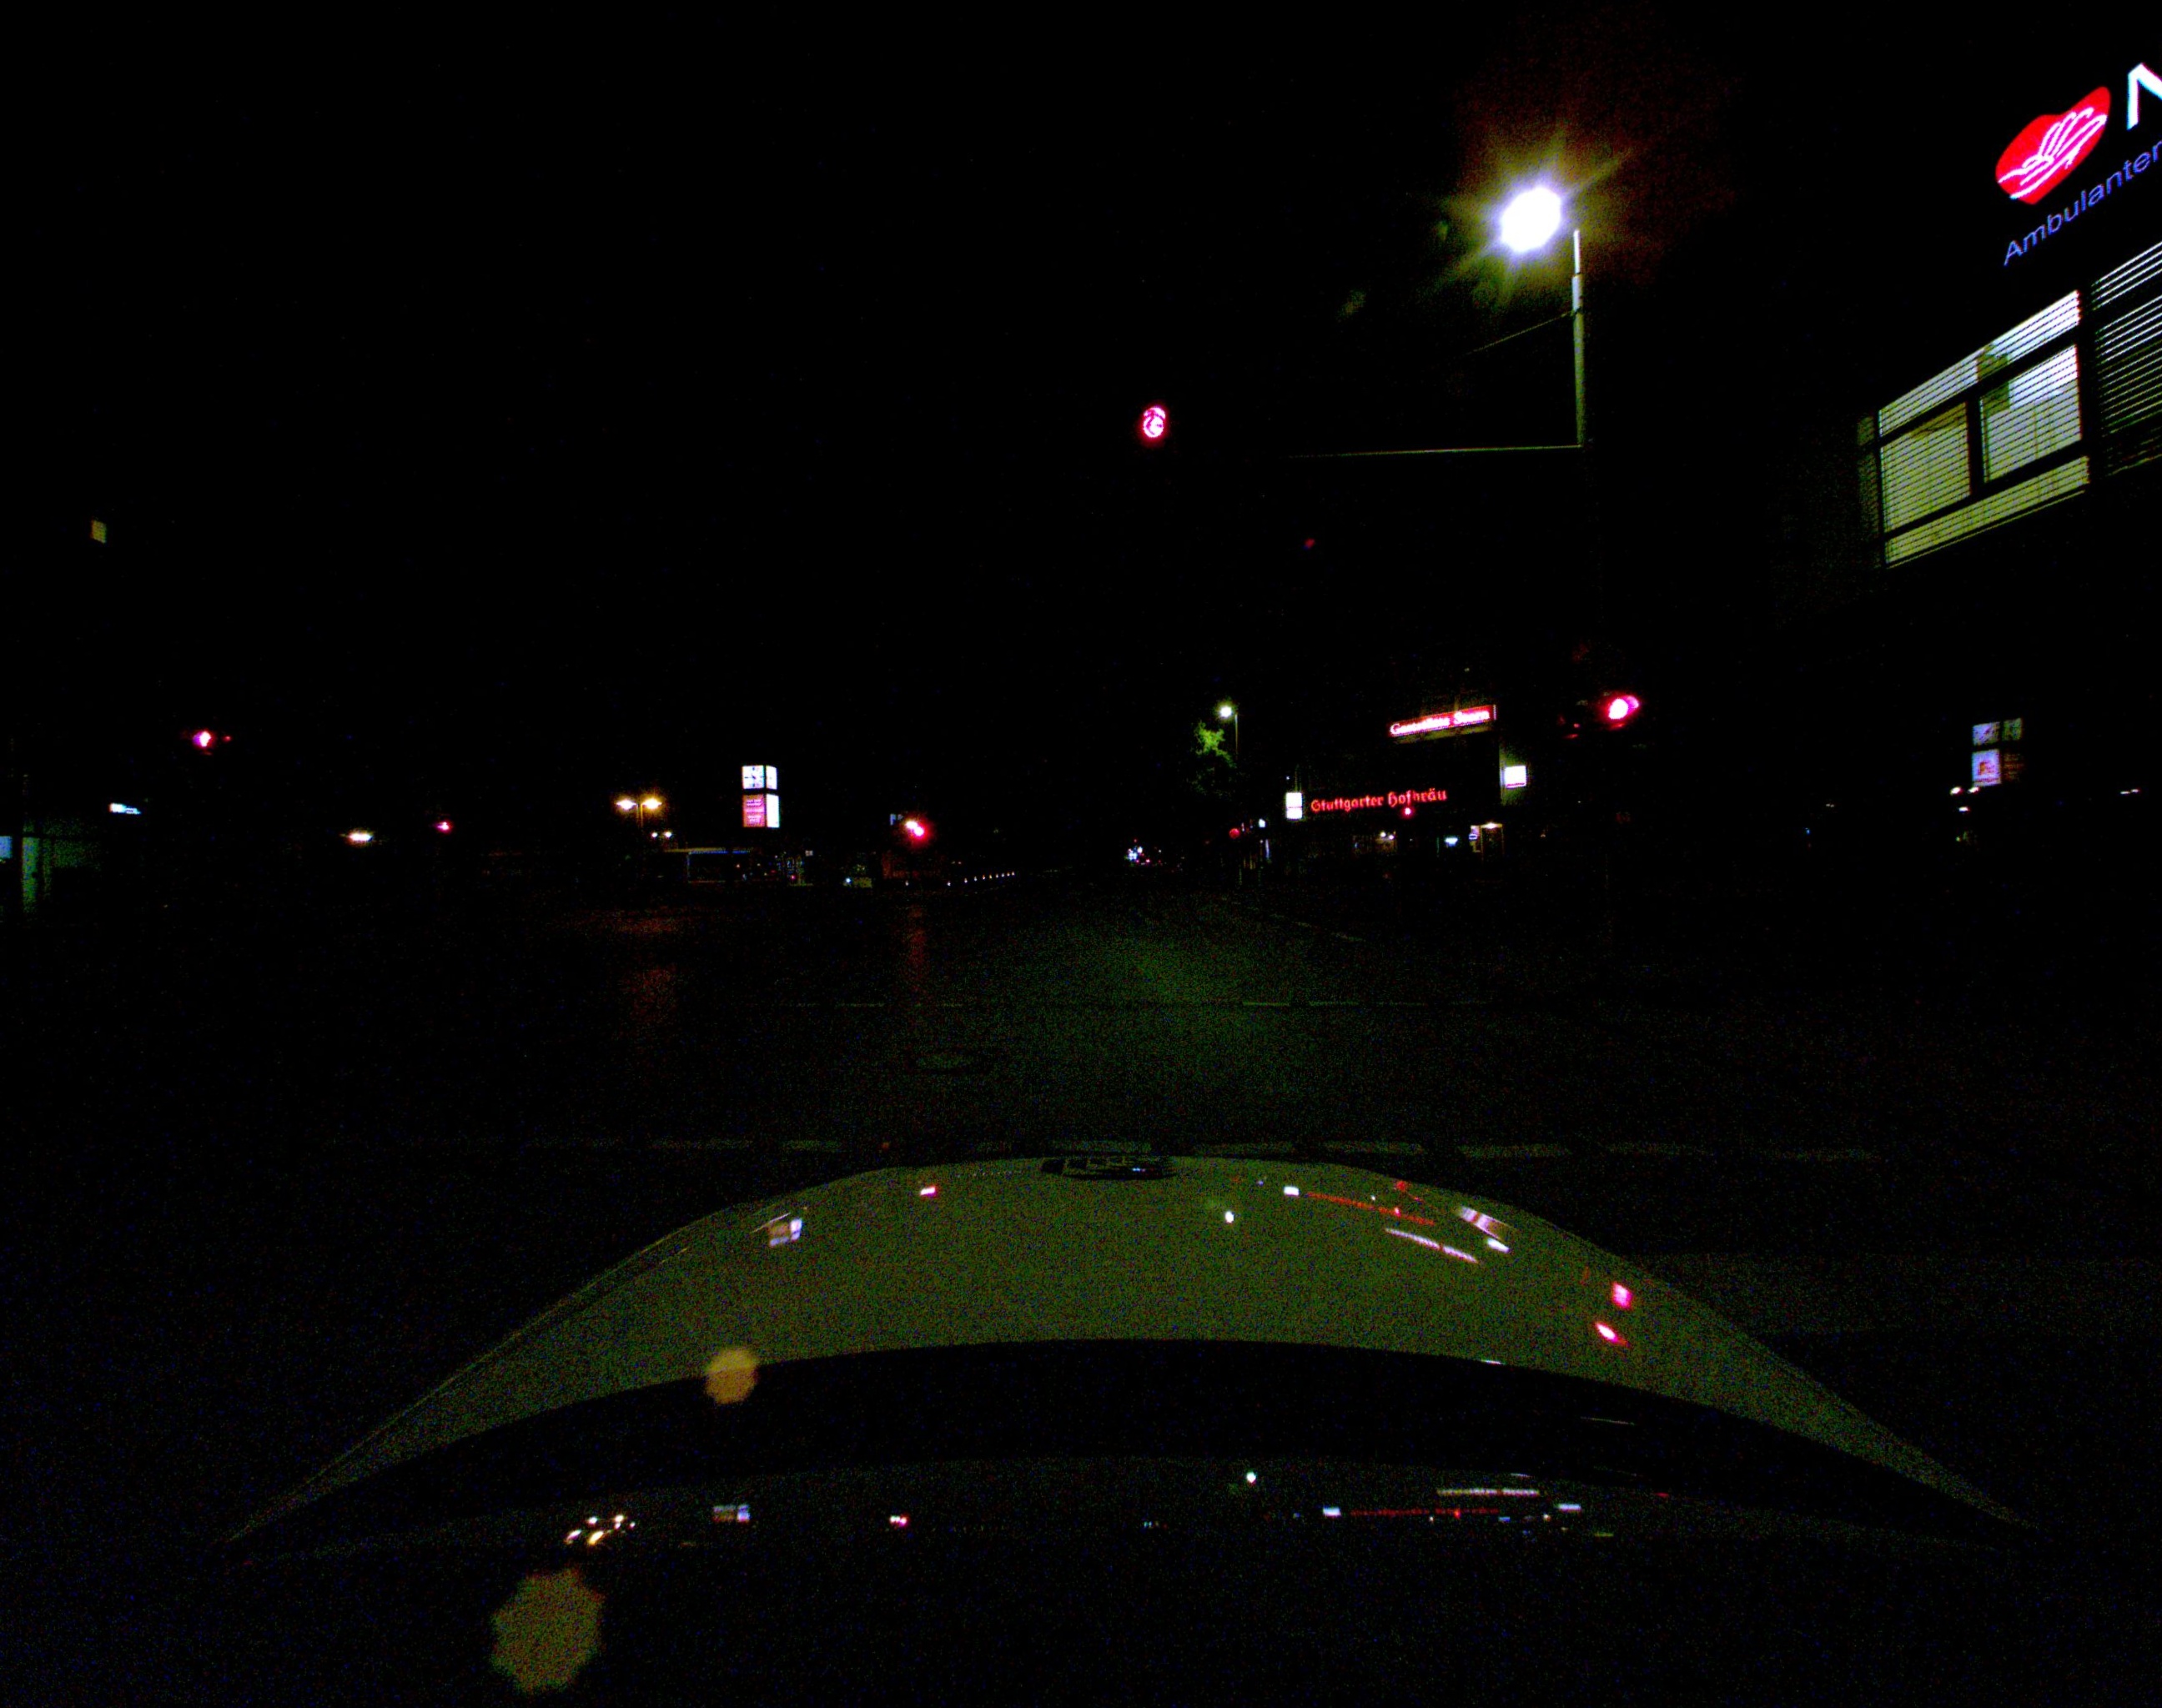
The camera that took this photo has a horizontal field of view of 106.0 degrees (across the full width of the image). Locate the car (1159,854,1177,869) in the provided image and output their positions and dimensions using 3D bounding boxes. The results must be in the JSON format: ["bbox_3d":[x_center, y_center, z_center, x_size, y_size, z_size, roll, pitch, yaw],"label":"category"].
[{"bbox_3d":[10.045,0.881,94.427,1.868,1.683,4.005,-2,-1,5],"label":"car"}]

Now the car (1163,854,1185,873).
[{"bbox_3d":[8.674,0.877,76.425,1.868,1.729,4.005,-2,-1,5],"label":"car"}]

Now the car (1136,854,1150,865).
[{"bbox_3d":[8.277,0.767,109.112,1.866,1.454,4.320,0,-1,3],"label":"car"}]

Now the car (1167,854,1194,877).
[{"bbox_3d":[7.712,0.884,63.579,1.868,1.615,4.005,-2,-1,5],"label":"car"}]

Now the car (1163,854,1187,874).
[{"bbox_3d":[7.880,0.831,68.768,1.868,1.615,4.005,-2,-1,5],"label":"car"}]
